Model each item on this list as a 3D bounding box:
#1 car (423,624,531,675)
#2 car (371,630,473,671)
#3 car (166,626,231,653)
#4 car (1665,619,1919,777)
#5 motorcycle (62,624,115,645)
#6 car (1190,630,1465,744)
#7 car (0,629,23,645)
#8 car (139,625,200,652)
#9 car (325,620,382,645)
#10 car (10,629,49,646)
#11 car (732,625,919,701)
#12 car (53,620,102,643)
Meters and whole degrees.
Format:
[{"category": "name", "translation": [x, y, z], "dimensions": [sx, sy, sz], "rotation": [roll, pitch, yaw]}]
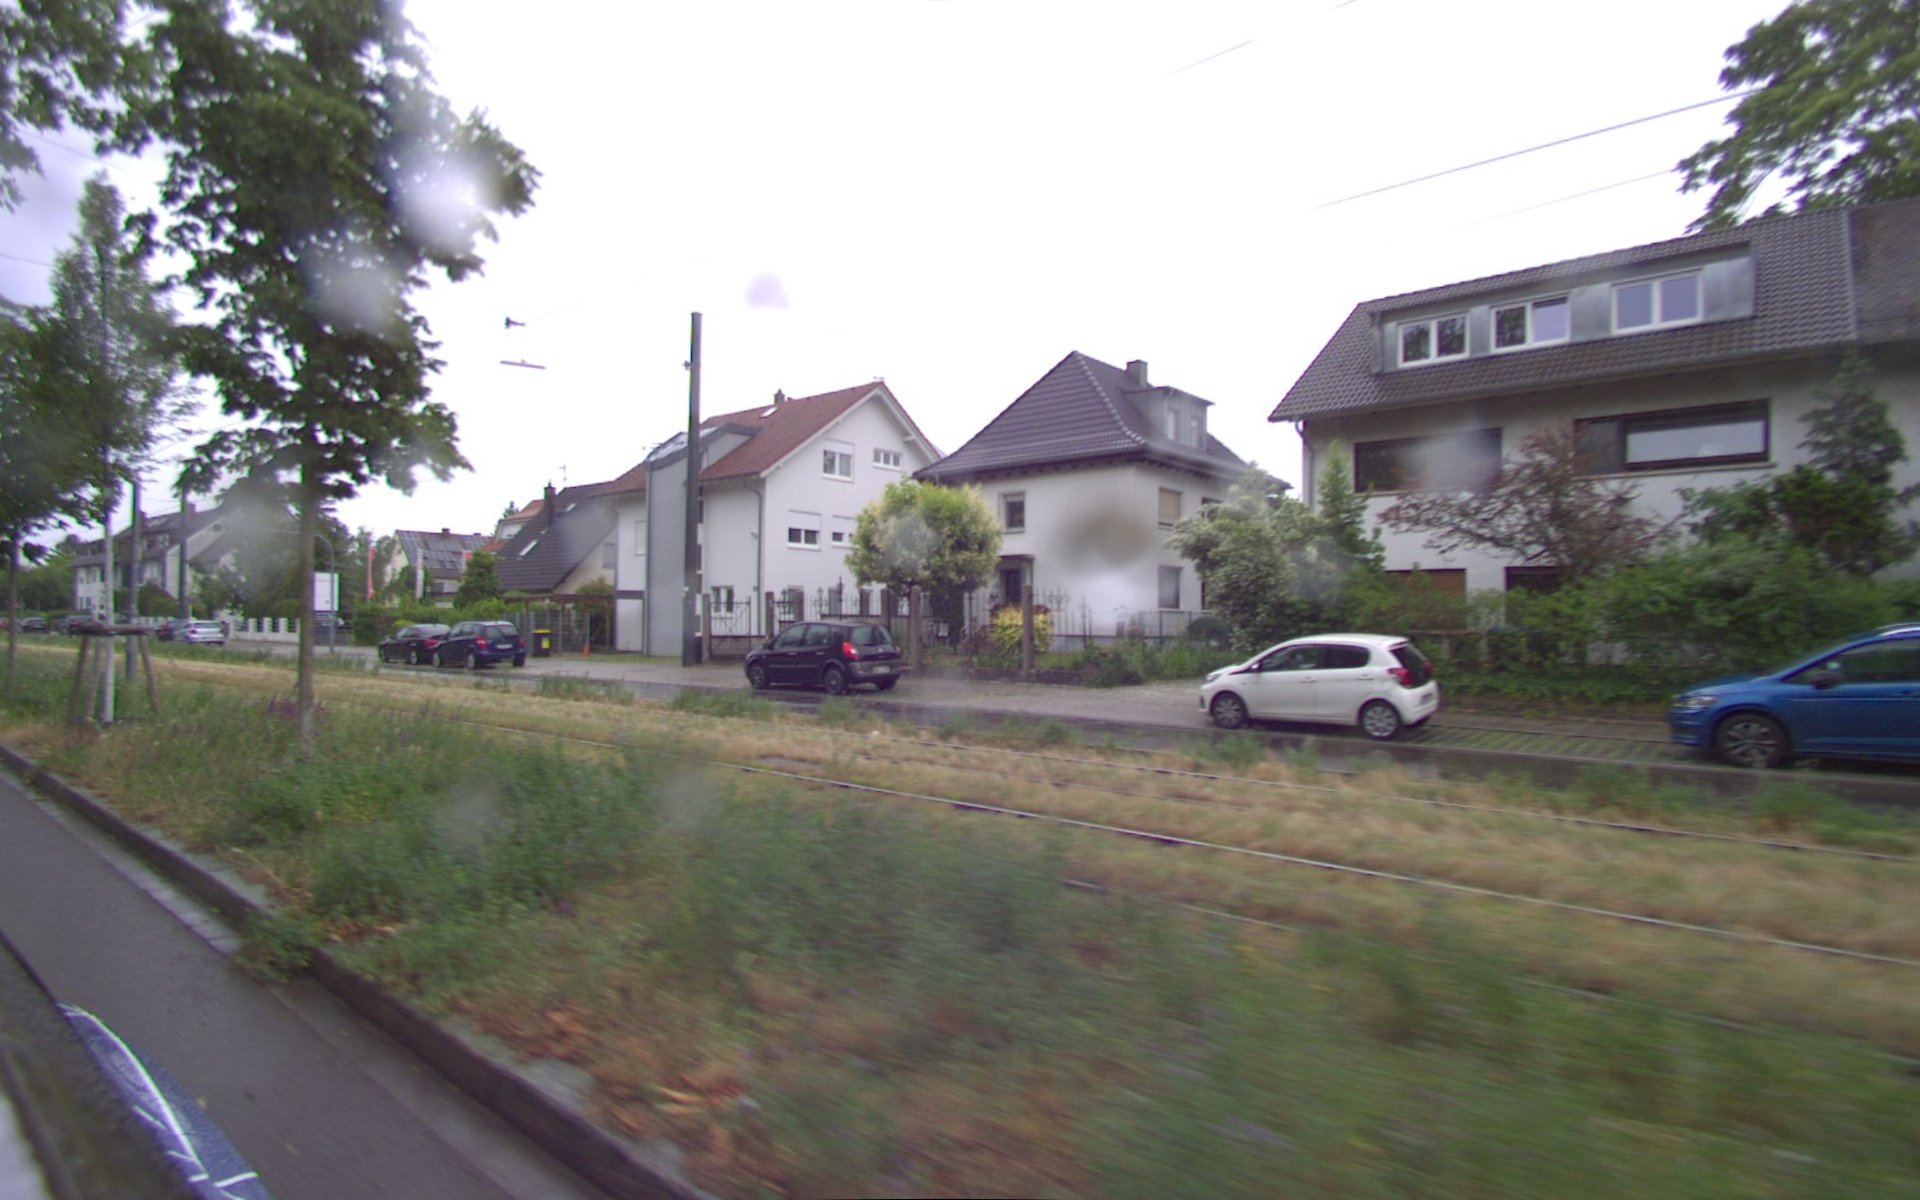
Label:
[{"category": "car", "translation": [-16.480, 1.649, 34.473], "dimensions": [3.866, 1.562, 1.855], "rotation": [-2, -1, 39]}, {"category": "car", "translation": [-20.023, 1.828, 37.609], "dimensions": [4.238, 1.361, 1.973], "rotation": [-2, -1, 41]}, {"category": "car", "translation": [-42.282, 2.165, 56.179], "dimensions": [3.967, 1.421, 1.974], "rotation": [-2, -1, 39]}, {"category": "car", "translation": [10.759, 1.050, 11.432], "dimensions": [4.409, 1.626, 1.973], "rotation": [-2, -1, 40]}, {"category": "motorcycle", "translation": [-62.887, 2.484, 73.044], "dimensions": [2.645, 1.421, 1.269], "rotation": [0, 0, -9]}, {"category": "car", "translation": [5.623, 1.242, 15.674], "dimensions": [3.595, 1.500, 1.777], "rotation": [-2, -1, 41]}, {"category": "car", "translation": [-88.792, 3.440, 94.259], "dimensions": [3.998, 1.468, 1.779], "rotation": [-2, -1, 41]}, {"category": "car", "translation": [-46.374, 2.217, 59.340], "dimensions": [4.528, 1.467, 1.973], "rotation": [-2, -1, 41]}, {"category": "car", "translation": [-36.515, 1.965, 60.888], "dimensions": [3.967, 1.421, 1.682], "rotation": [-2, -1, 39]}, {"category": "car", "translation": [-79.834, 3.212, 86.833], "dimensions": [4.759, 1.421, 1.973], "rotation": [-2, -1, 41]}, {"category": "car", "translation": [-3.154, 1.370, 23.260], "dimensions": [4.203, 1.528, 1.973], "rotation": [-2, -1, 41]}, {"category": "car", "translation": [-66.725, 2.367, 76.487], "dimensions": [4.380, 1.687, 1.975], "rotation": [-1, -1, 37]}]
